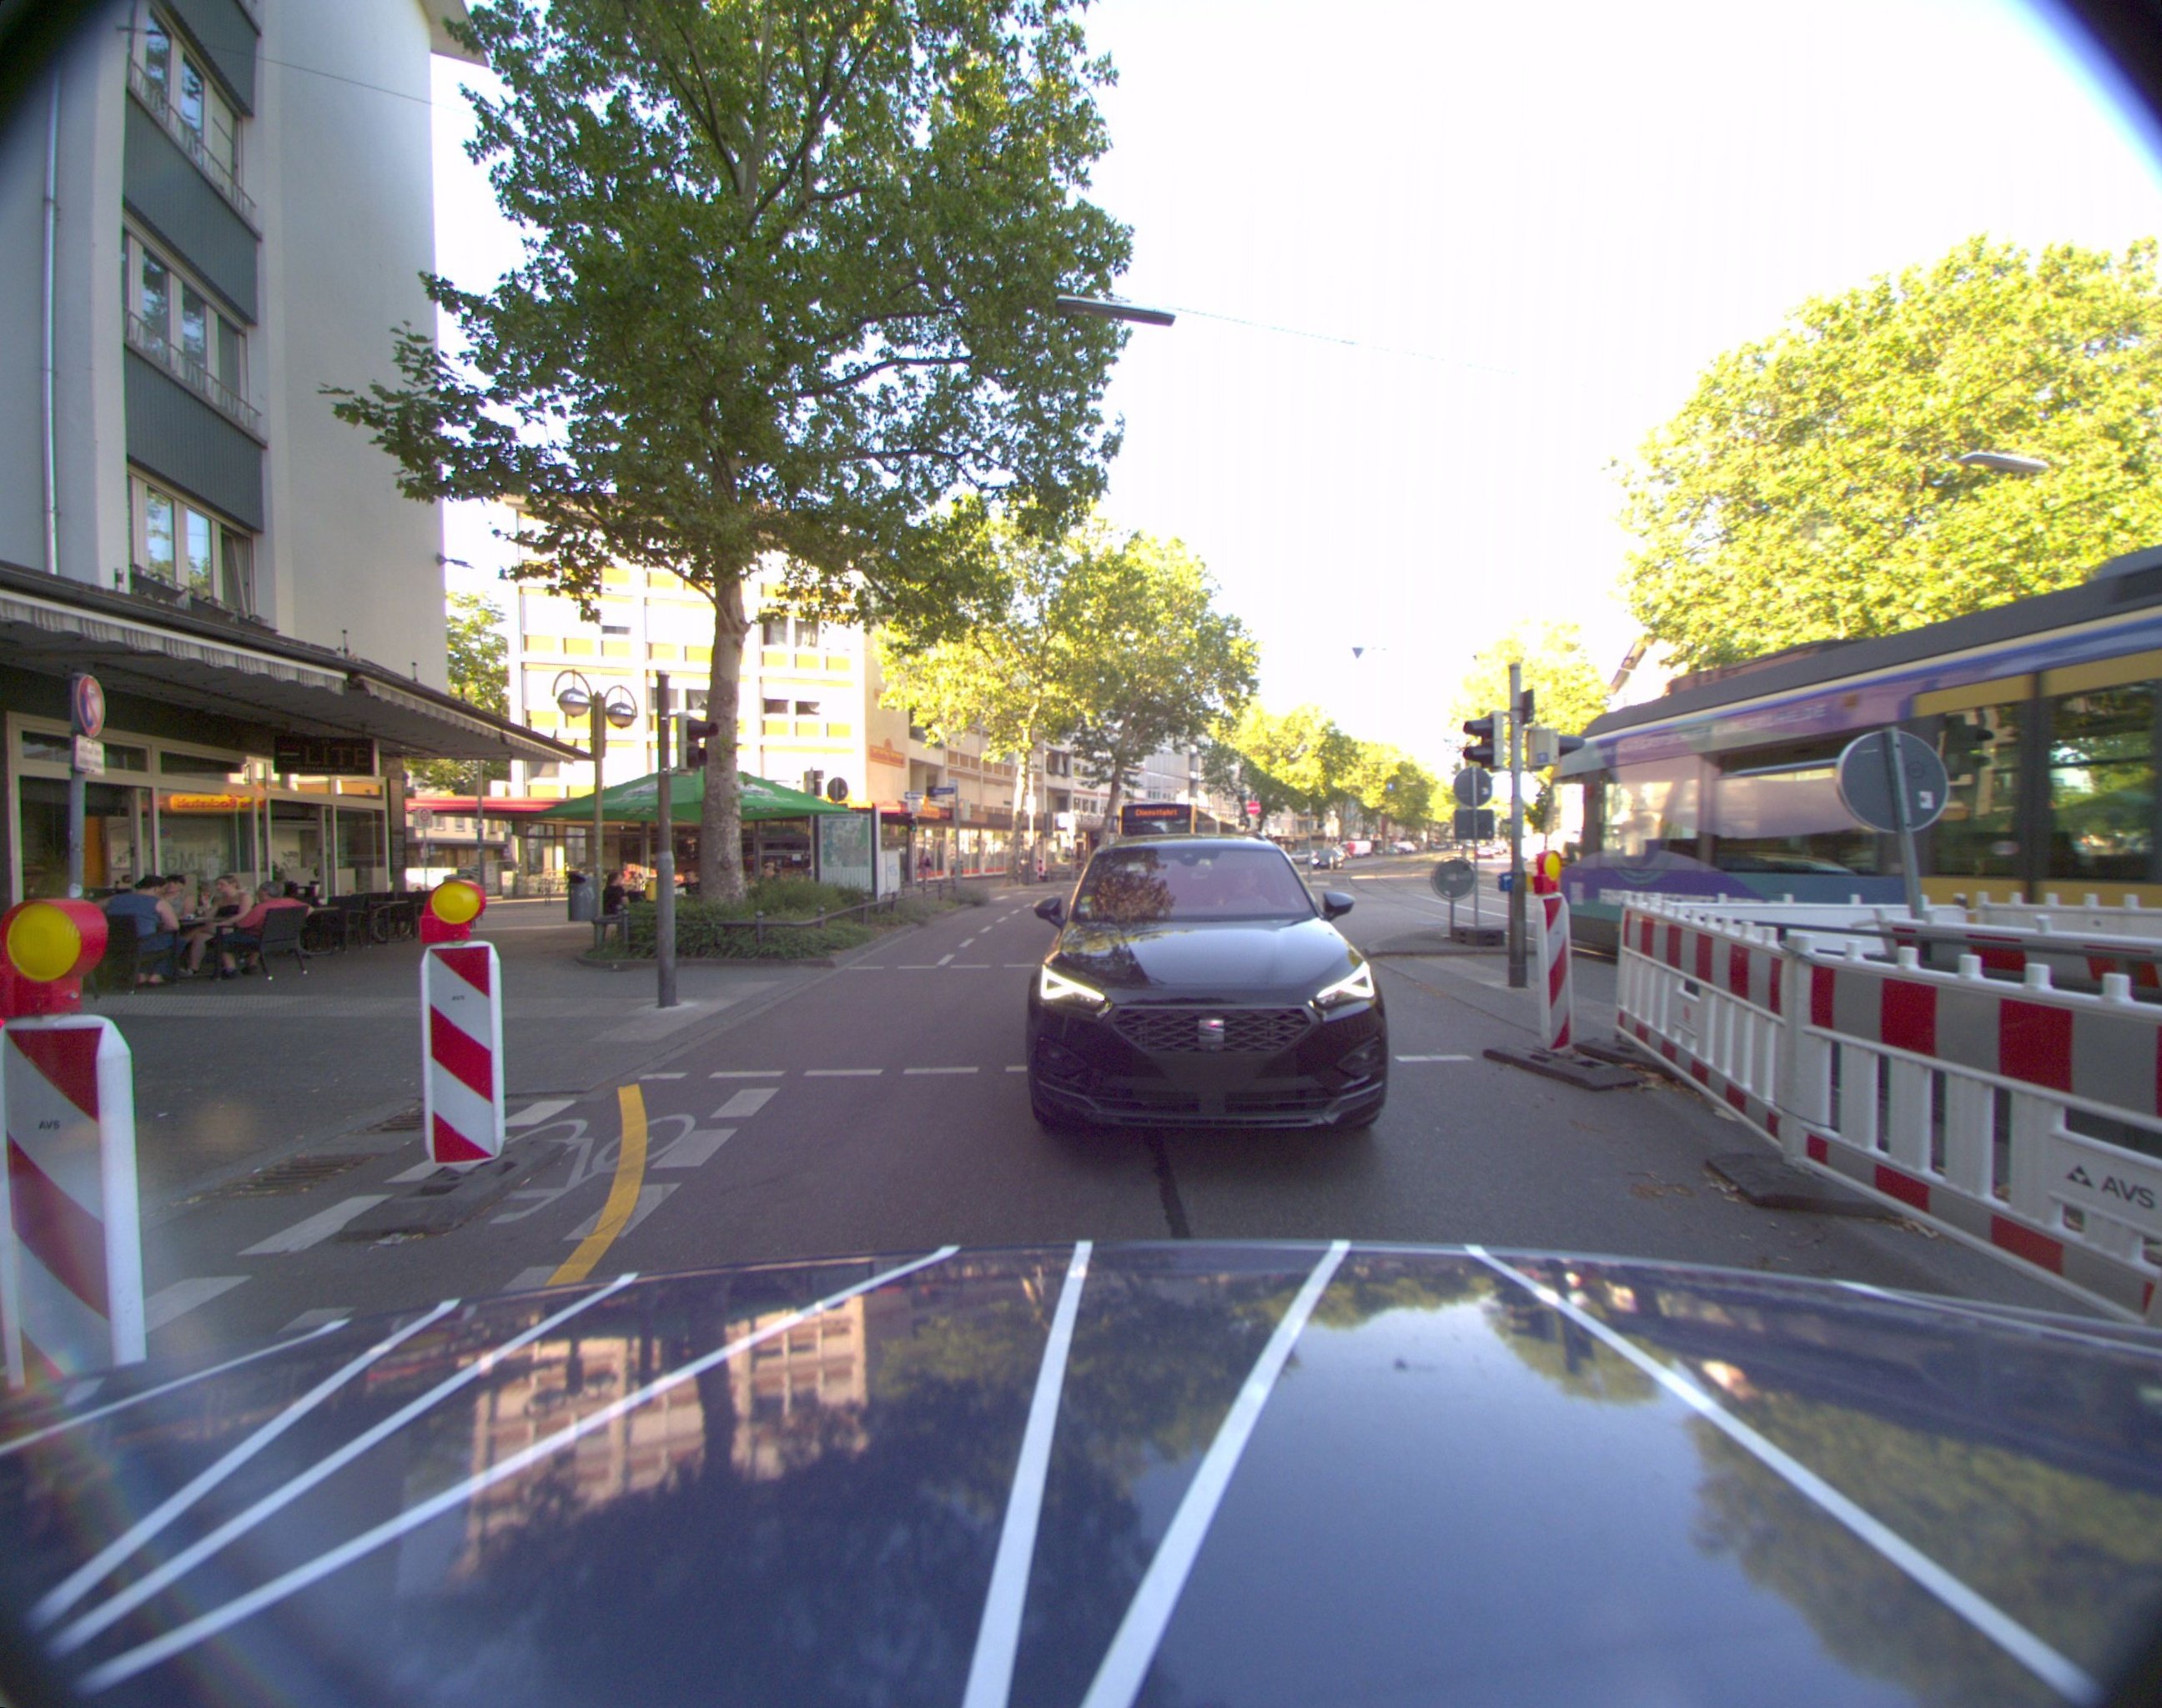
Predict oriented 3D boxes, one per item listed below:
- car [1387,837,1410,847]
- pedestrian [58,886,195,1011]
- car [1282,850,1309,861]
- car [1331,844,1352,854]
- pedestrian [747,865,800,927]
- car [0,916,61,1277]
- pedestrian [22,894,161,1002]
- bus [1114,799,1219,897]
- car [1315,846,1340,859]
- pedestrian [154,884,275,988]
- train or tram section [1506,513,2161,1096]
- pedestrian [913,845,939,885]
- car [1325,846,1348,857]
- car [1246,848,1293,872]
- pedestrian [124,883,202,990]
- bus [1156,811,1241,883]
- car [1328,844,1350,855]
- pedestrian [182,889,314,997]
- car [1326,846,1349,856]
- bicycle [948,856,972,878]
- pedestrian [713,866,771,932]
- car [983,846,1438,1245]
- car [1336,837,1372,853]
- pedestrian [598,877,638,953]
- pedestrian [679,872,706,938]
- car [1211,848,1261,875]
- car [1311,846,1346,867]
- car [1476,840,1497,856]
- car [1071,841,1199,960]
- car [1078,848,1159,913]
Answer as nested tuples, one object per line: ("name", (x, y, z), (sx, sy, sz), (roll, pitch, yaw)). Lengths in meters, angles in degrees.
("car", (64.313, -2.493, 153.891), (4.000, 2.002, 1.879), (-1, 1, -8))
("pedestrian", (-10.222, 0.983, 8.169), (0.651, 1.244, 0.716), (0, 0, -24))
("car", (24.004, 0.135, 85.054), (2.629, 1.209, 1.200), (-1, 2, -6))
("car", (36.706, -0.653, 107.089), (2.627, 1.338, 1.201), (-1, 2, 3))
("pedestrian", (-6.544, 0.884, 16.205), (0.718, 1.278, 0.769), (-1, 1, 13))
("car", (-5.151, 0.992, 1.446), (1.623, 1.457, 3.604), (2, 0, -2))
("pedestrian", (-11.088, 1.026, 8.544), (0.718, 1.123, 0.649), (1, 0, -24))
("bus", (3.524, -0.228, 28.636), (2.750, 3.085, 9.506), (0, 1, 14))
("car", (29.787, -0.172, 91.875), (2.627, 1.464, 1.201), (-1, 2, 3))
("pedestrian", (-10.694, 0.985, 9.400), (0.666, 1.211, 0.717), (0, 0, -5))
("train or tram section", (7.862, -0.329, 6.364), (2.842, 3.467, 10.337), (-1, 1, 0))
("pedestrian", (-6.886, 0.499, 33.691), (0.748, 1.747, 0.903), (0, 1, 17))
("car", (32.902, -0.321, 97.860), (2.627, 1.274, 1.201), (-1, 2, 3))
("car", (13.690, 0.378, 55.030), (1.952, 1.541, 4.765), (0, 2, 31))
("pedestrian", (-11.245, 0.986, 9.313), (0.519, 1.236, 0.553), (0, 0, 34))
("bus", (6.061, -0.340, 37.750), (2.749, 3.085, 9.508), (0, 1, 17))
("car", (35.459, -0.643, 104.287), (2.627, 1.380, 1.201), (-1, 2, 3))
("pedestrian", (-9.849, 1.019, 9.020), (0.847, 1.191, 0.649), (1, 0, -22))
("car", (34.051, -0.408, 100.961), (2.627, 1.274, 1.201), (-1, 2, 3))
("bicycle", (-6.672, 0.695, 42.053), (0.528, 1.136, 1.976), (-1, 1, 15))
("pedestrian", (-6.811, 0.887, 15.281), (0.718, 1.278, 0.769), (-1, 1, 14))
("car", (0.682, 0.802, 5.332), (1.848, 1.648, 4.300), (-2, 0, 4))
("car", (40.631, -1.326, 113.138), (4.868, 2.362, 1.878), (-1, 2, -10))
("pedestrian", (-7.783, 1.010, 12.769), (0.469, 1.212, 0.431), (-2, 1, -44))
("pedestrian", (-7.413, 0.960, 14.504), (0.433, 1.212, 0.467), (0, 1, -29))
("car", (9.486, 0.417, 46.231), (1.908, 1.467, 4.425), (0, 2, 26))
("car", (19.192, 0.181, 58.810), (1.952, 1.467, 4.764), (0, 2, 26))
("car", (49.042, -0.738, 91.880), (1.994, 1.856, 4.007), (0, 1, 31))
("car", (0.968, 0.641, 12.807), (1.743, 1.630, 4.300), (-2, 0, 6))
("car", (1.099, 0.623, 20.171), (1.743, 1.492, 4.301), (-2, 0, 7))
